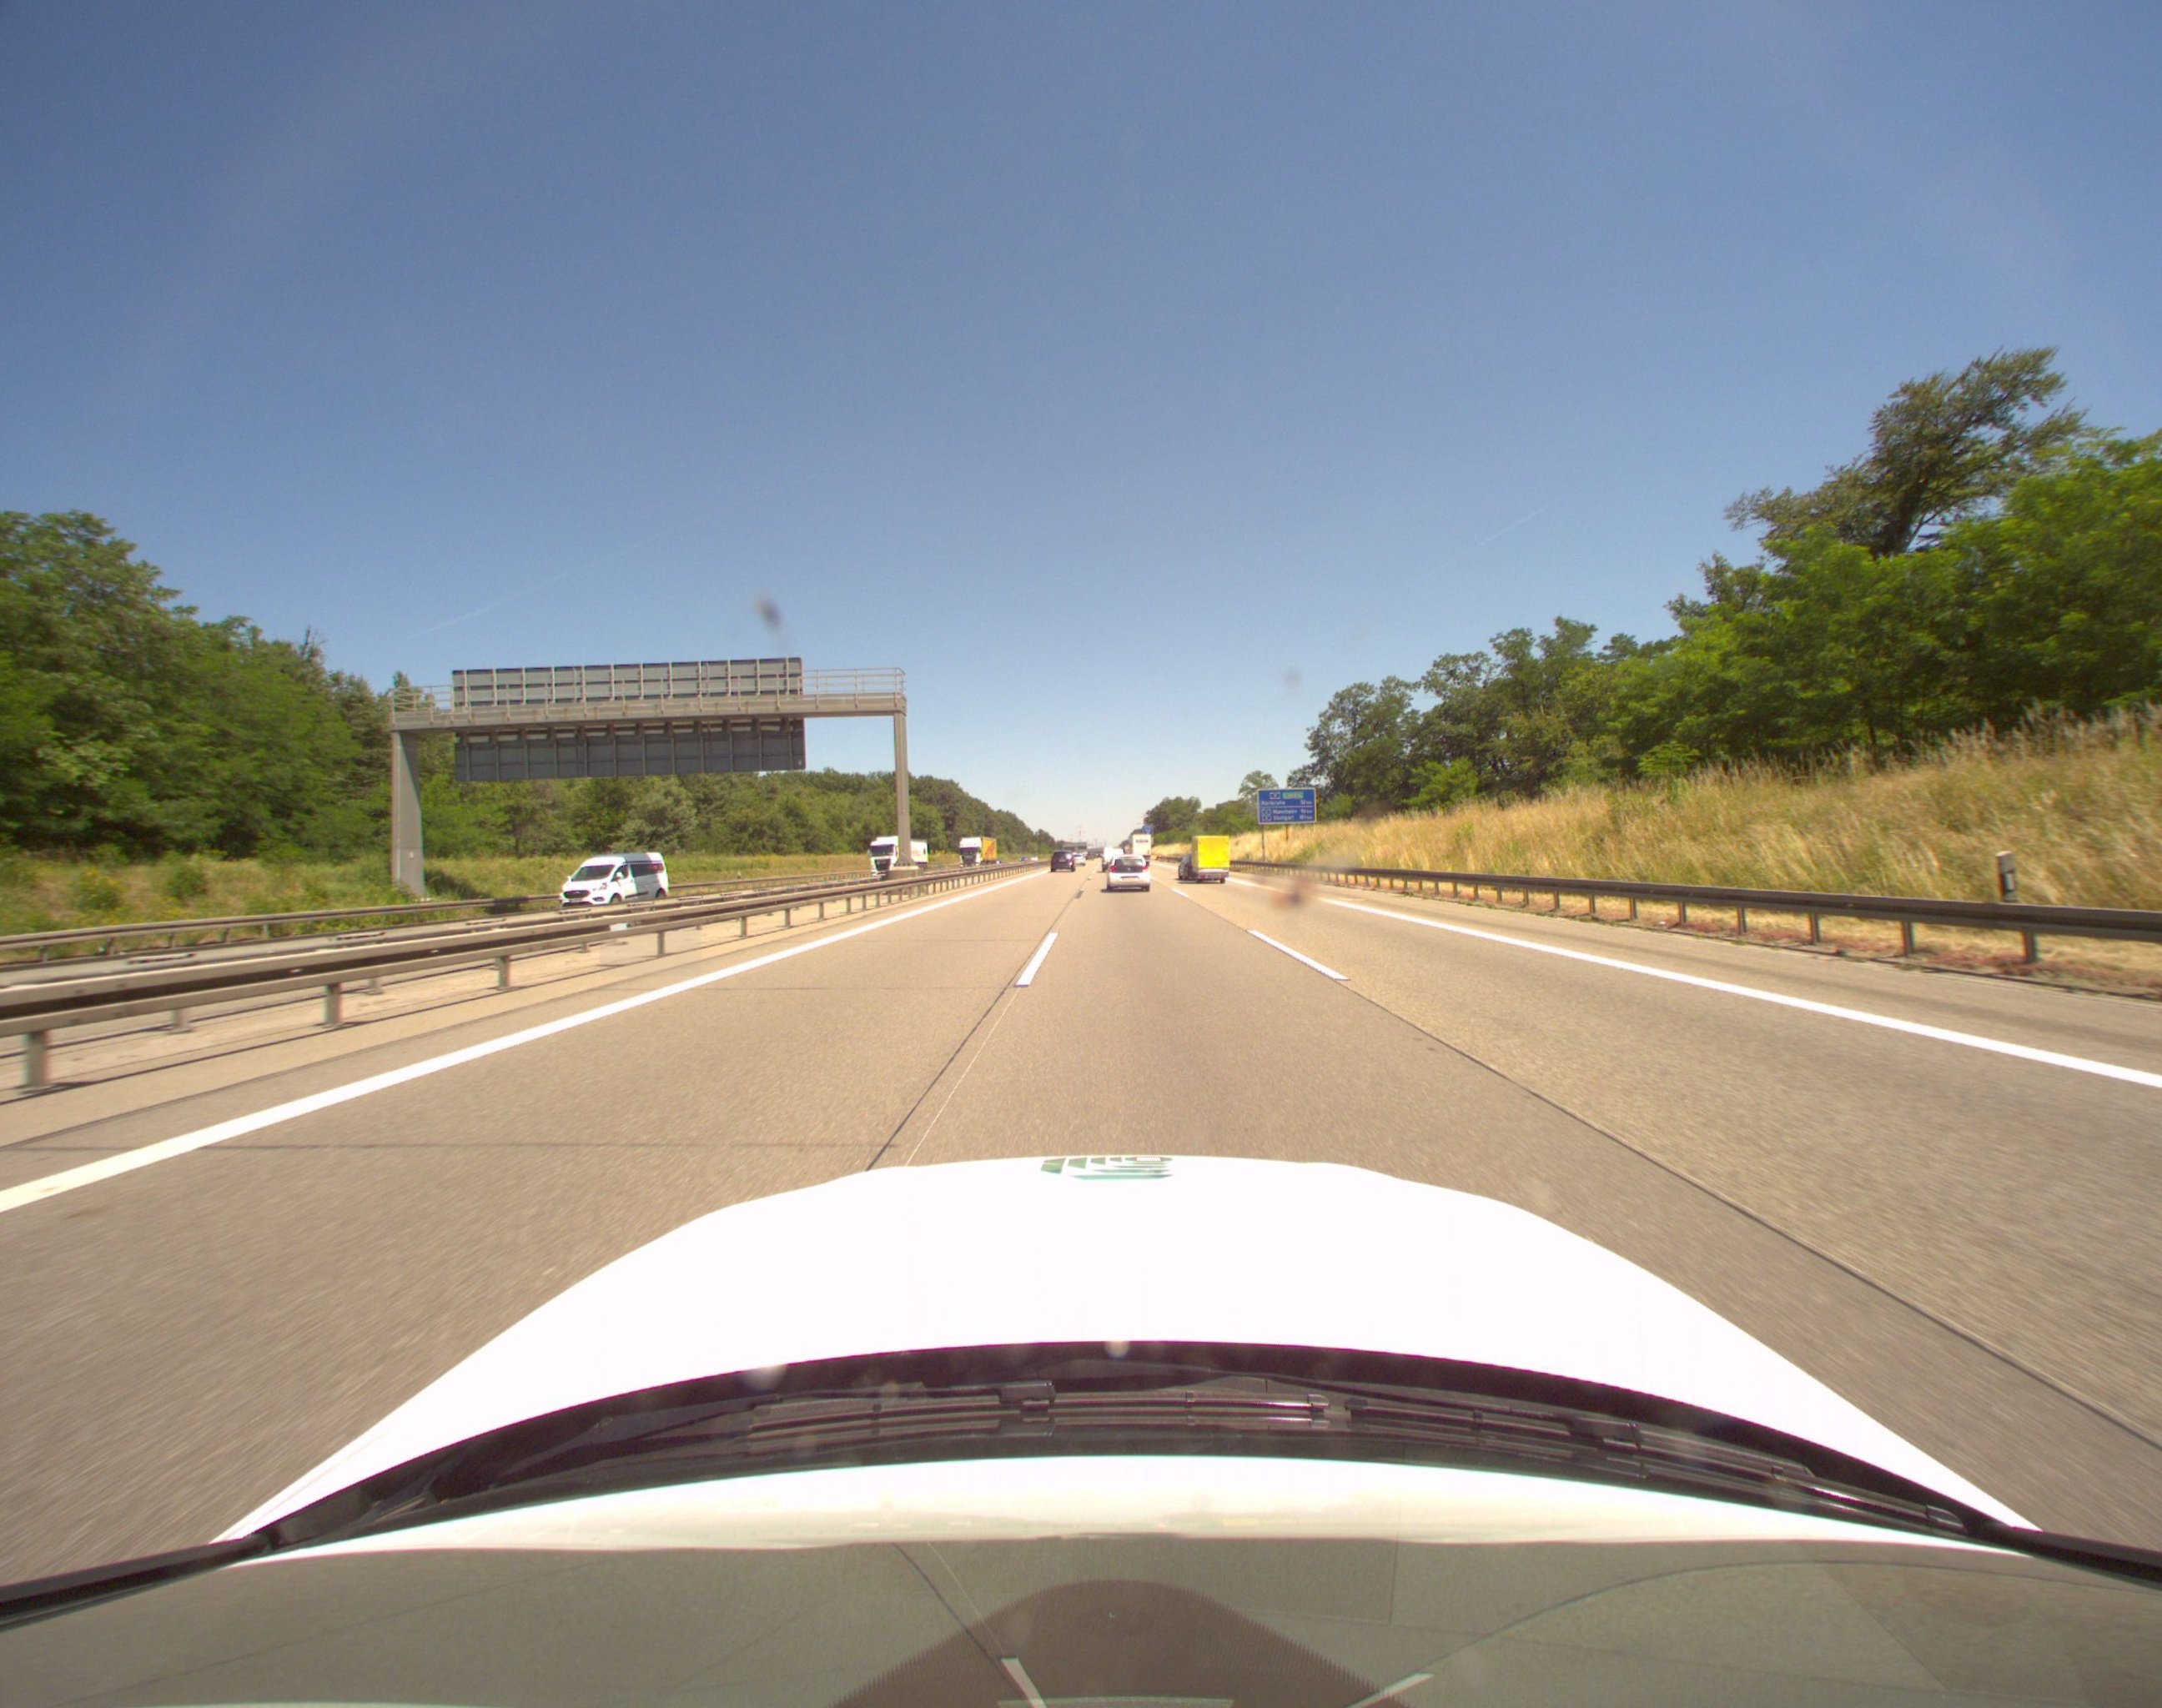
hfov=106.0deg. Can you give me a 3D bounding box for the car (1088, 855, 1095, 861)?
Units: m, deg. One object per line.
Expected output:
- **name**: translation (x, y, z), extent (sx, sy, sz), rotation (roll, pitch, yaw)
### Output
- **car**: translation (2.386, 0.847, 183.332), extent (1.601, 1.300, 3.676), rotation (-1, 0, 2)

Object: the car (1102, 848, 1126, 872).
- **car**: translation (2.572, 0.473, 64.407), extent (1.808, 1.827, 5.112), rotation (-1, 0, 1)

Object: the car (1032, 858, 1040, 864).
- **car**: translation (-12.839, 1.973, 234.001), extent (1.696, 1.661, 5.118), rotation (-4, 0, 2)

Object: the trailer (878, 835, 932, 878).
- **trailer**: translation (-18.143, 0.243, 84.792), extent (2.615, 3.948, 11.161), rotation (-4, 0, 2)

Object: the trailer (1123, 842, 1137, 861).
- **trailer**: translation (10.442, -0.472, 175.302), extent (2.673, 3.837, 12.013), rotation (0, 0, 1)

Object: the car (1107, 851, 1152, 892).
- **car**: translation (1.887, 0.660, 32.709), extent (1.702, 1.495, 4.025), rotation (-1, 0, 2)

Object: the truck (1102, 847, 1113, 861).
- **truck**: translation (5.577, 0.040, 171.744), extent (2.053, 2.914, 7.005), rotation (-1, 0, 1)

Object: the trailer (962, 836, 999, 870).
- **trailer**: translation (-13.152, -0.148, 107.893), extent (2.455, 4.072, 14.284), rotation (-4, 0, 2)

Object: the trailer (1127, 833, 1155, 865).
- **trailer**: translation (8.306, -0.567, 114.686), extent (3.274, 4.219, 13.568), rotation (0, 0, 1)

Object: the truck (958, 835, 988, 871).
- **truck**: translation (-13.337, -0.124, 101.382), extent (2.455, 4.072, 6.289), rotation (-4, 0, 2)

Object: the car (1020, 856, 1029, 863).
- **car**: translation (-14.257, 1.376, 205.173), extent (1.696, 1.545, 4.537), rotation (-4, 0, 2)

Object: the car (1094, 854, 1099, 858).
- **car**: translation (4.481, 0.645, 232.333), extent (1.400, 1.131, 3.359), rotation (-1, 0, 2)

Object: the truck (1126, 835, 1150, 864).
- **truck**: translation (8.486, -0.572, 121.627), extent (3.274, 4.219, 6.009), rotation (0, 0, 1)

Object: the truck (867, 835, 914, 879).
- **truck**: translation (-18.274, 0.258, 78.507), extent (2.616, 3.948, 6.485), rotation (-4, 0, 1)

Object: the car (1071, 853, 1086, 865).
- **car**: translation (-0.277, 0.566, 96.647), extent (1.663, 1.401, 3.713), rotation (-2, 0, 0)

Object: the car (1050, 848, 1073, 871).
- **car**: translation (-1.583, 0.446, 66.031), extent (1.620, 1.755, 3.806), rotation (-1, 0, 2)

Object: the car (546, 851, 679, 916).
- **car**: translation (-19.375, 1.116, 34.070), extent (1.981, 2.340, 5.810), rotation (-4, 0, 1)

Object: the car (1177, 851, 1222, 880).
- **car**: translation (6.357, 0.603, 44.132), extent (1.815, 1.456, 4.788), rotation (-1, 0, 1)

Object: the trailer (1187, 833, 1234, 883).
- **trailer**: translation (6.288, 0.183, 39.816), extent (1.697, 2.289, 3.840), rotation (-1, 0, 1)
